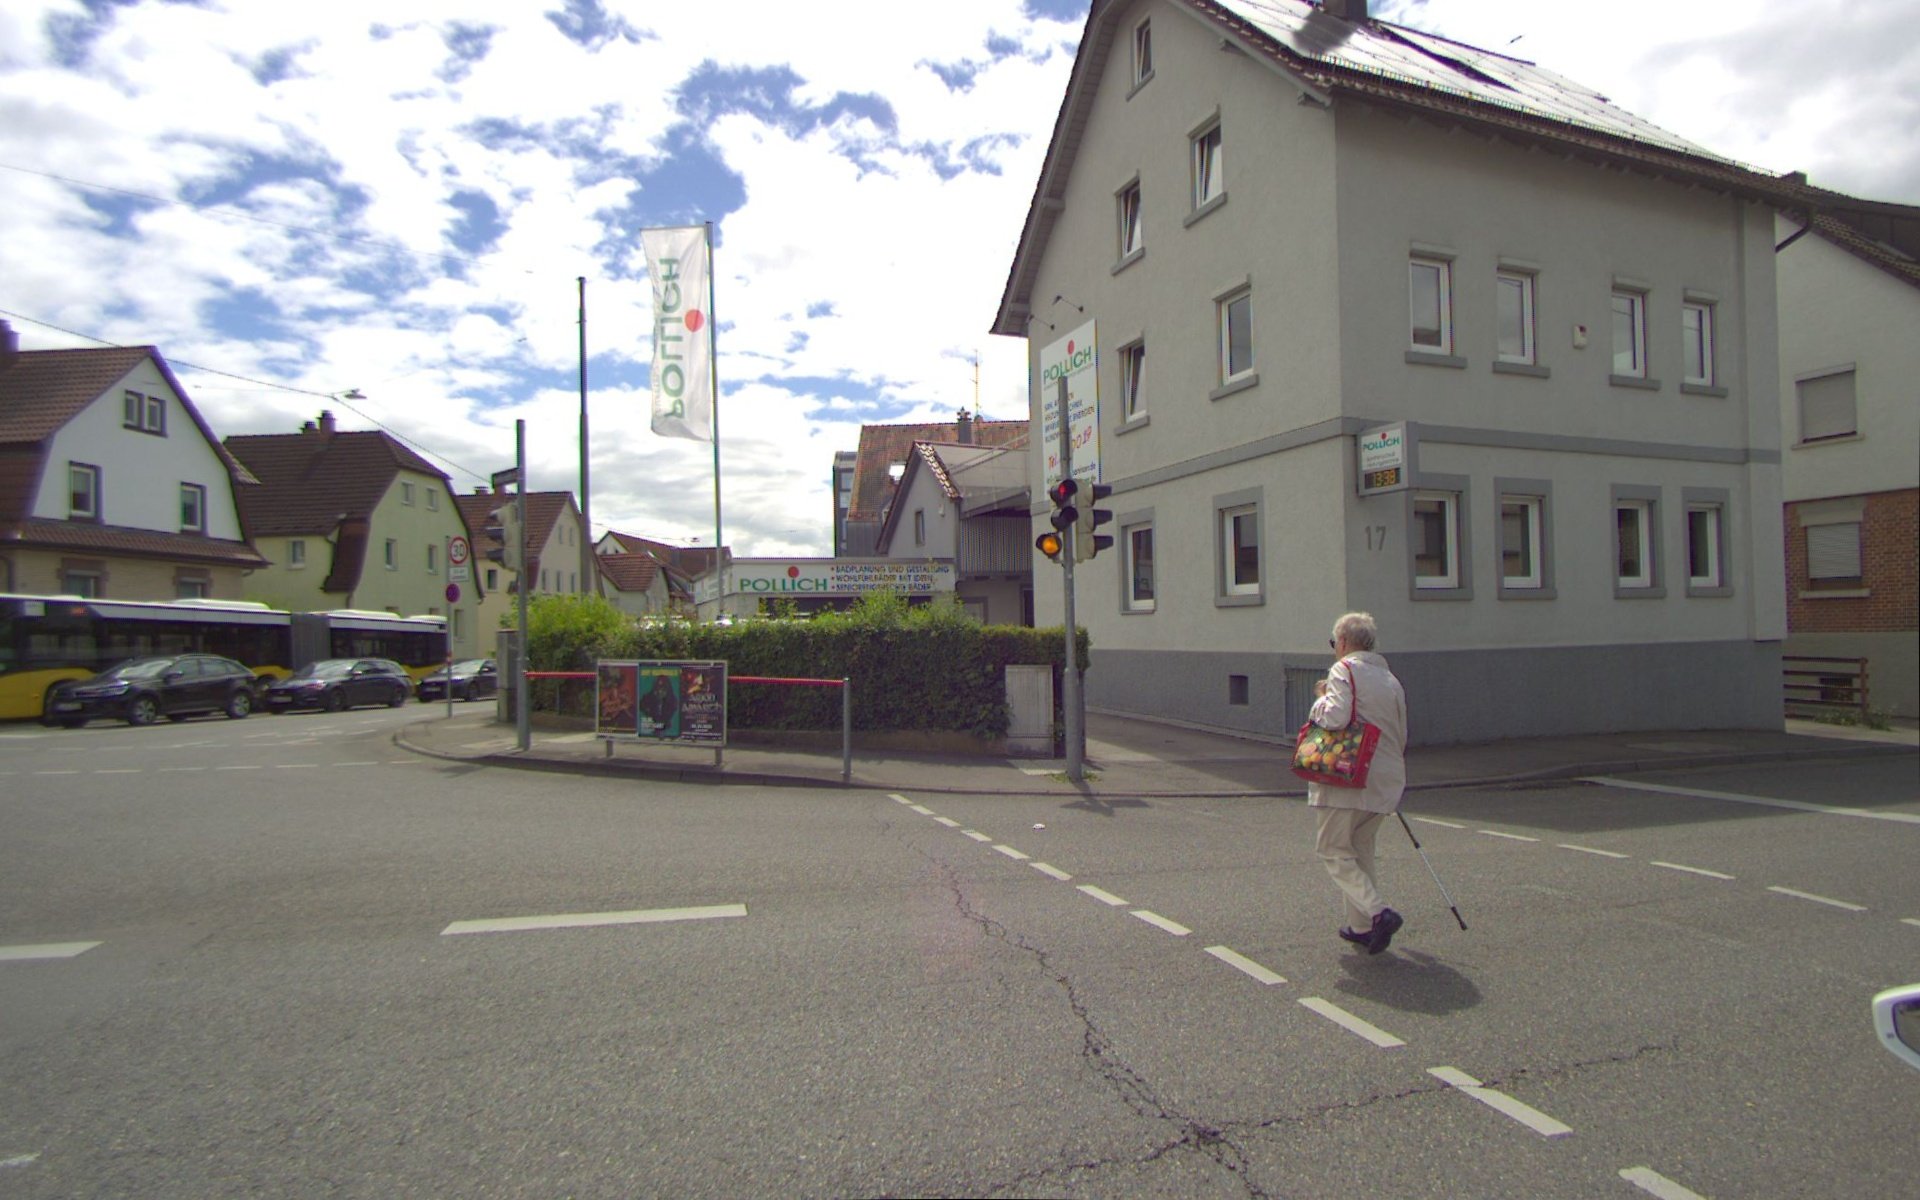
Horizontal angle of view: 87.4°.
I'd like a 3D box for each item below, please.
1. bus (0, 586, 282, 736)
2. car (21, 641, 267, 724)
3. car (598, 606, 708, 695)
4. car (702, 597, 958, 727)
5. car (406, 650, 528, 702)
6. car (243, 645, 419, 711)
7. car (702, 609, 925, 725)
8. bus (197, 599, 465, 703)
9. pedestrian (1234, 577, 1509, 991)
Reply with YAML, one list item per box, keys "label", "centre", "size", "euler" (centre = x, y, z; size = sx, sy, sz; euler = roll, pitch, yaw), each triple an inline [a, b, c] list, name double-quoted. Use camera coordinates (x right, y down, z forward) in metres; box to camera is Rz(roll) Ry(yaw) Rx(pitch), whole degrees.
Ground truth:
- label: "bus"
  centre: [-21.012, 1.429, 24.169]
  size: [2.731, 3.100, 9.196]
  euler: [0, -3, 3]
- label: "car"
  centre: [-17.800, 1.746, 22.212]
  size: [1.960, 1.661, 4.003]
  euler: [0, -3, 5]
- label: "car"
  centre: [-7.952, 1.281, 25.689]
  size: [1.973, 2.040, 5.093]
  euler: [1, -3, -25]
- label: "car"
  centre: [-2.231, 1.027, 16.997]
  size: [3.941, 1.973, 1.990]
  euler: [1, -3, -22]
- label: "car"
  centre: [-16.768, 2.567, 34.425]
  size: [1.960, 1.661, 4.003]
  euler: [0, -3, 5]
- label: "car"
  centre: [-17.073, 2.067, 27.550]
  size: [1.960, 1.661, 4.186]
  euler: [0, -3, 5]
- label: "car"
  centre: [-2.859, 1.253, 19.414]
  size: [3.940, 2.040, 1.991]
  euler: [1, -3, -21]
- label: "bus"
  centre: [-20.328, 1.676, 33.438]
  size: [2.731, 2.952, 9.196]
  euler: [0, -3, 3]
- label: "pedestrian"
  centre: [1.895, 0.761, 4.643]
  size: [0.829, 1.659, 0.864]
  euler: [3, -3, -38]
